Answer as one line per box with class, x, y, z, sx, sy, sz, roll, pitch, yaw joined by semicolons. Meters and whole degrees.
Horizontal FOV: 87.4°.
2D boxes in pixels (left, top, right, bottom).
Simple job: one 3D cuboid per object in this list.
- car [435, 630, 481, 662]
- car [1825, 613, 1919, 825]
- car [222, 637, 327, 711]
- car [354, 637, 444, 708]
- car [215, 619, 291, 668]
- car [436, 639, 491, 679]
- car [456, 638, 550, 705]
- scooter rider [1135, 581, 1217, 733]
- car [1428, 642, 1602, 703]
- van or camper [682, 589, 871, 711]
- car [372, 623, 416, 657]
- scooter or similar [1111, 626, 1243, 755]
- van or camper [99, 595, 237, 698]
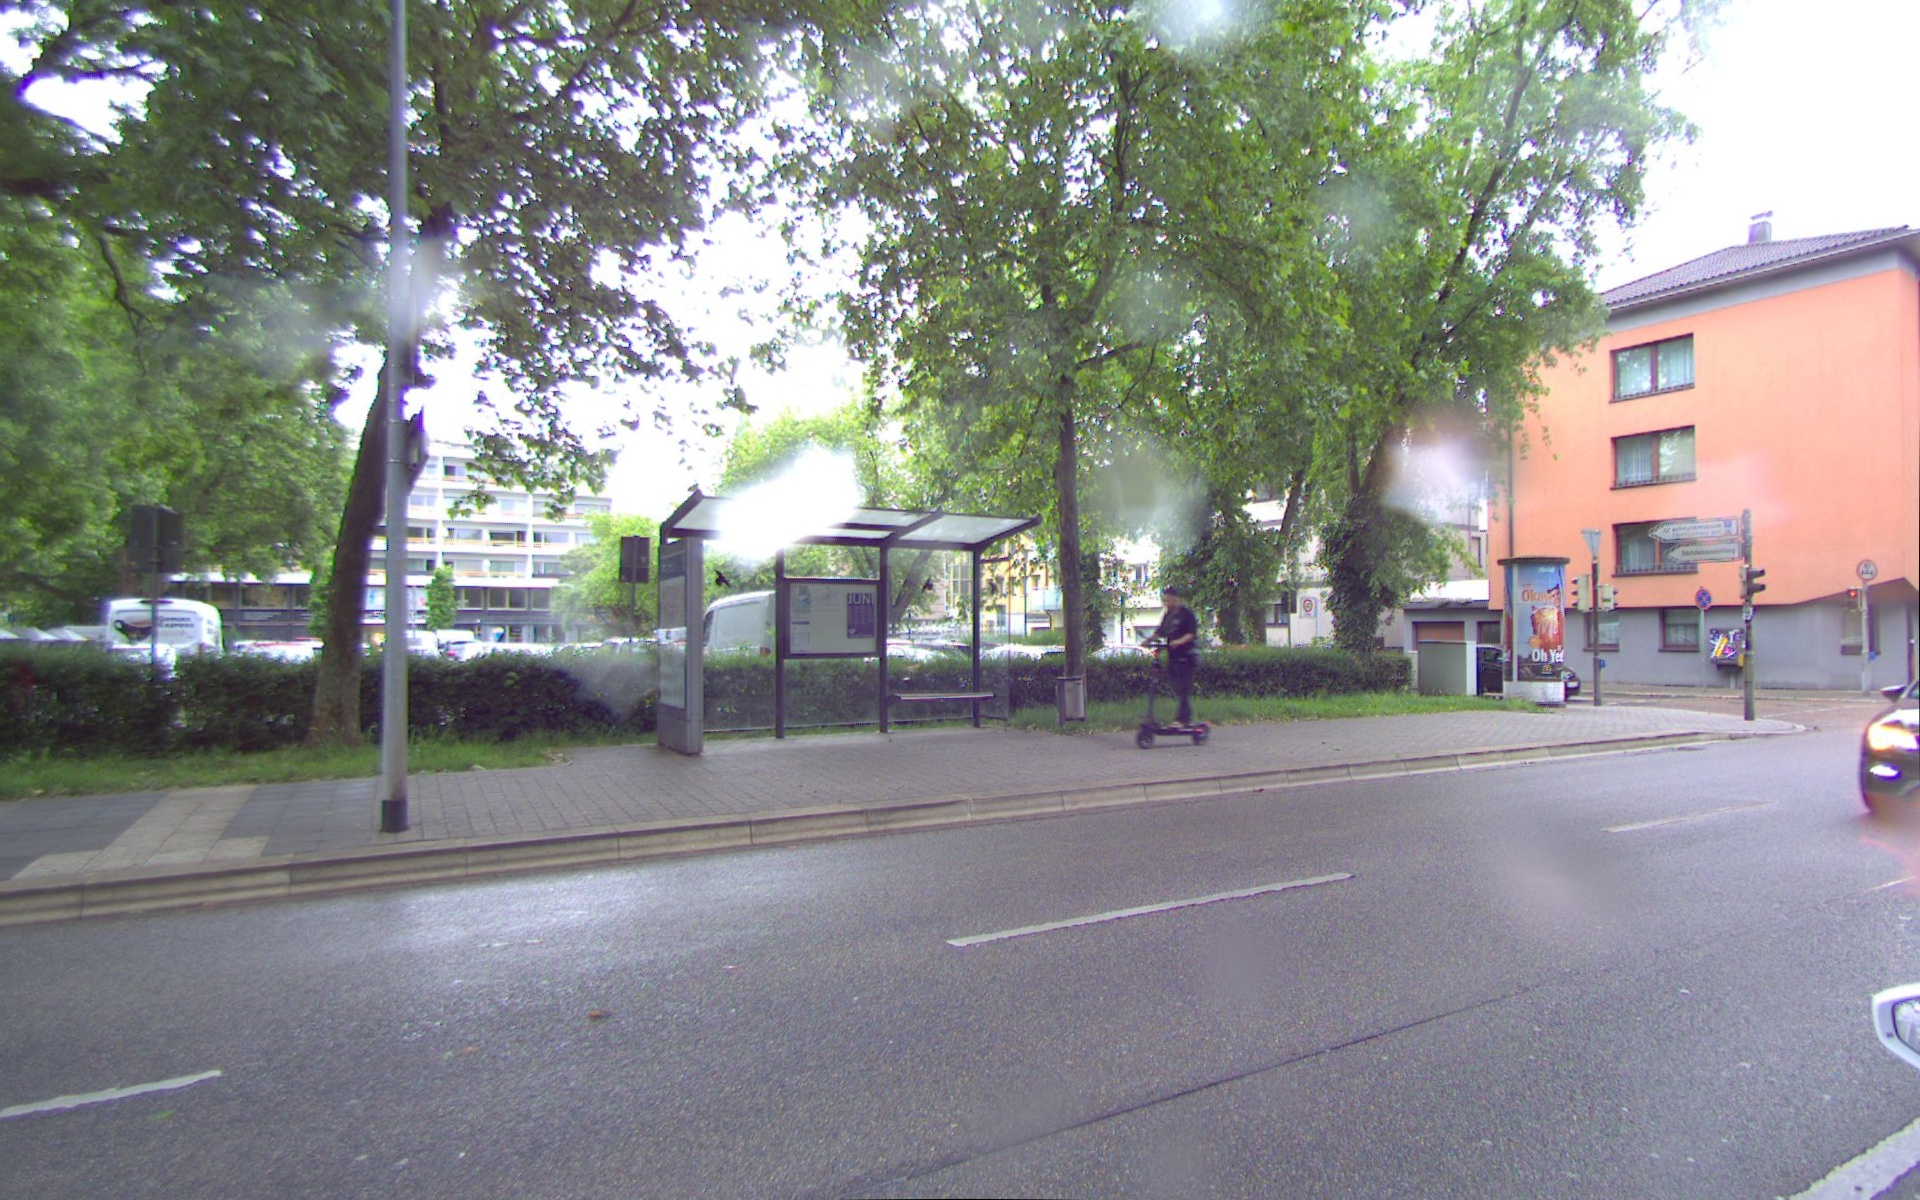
car;-26.988;2.426;53.942;1.876;1.506;3.966;2;0;-31
car;9.357;0.952;8.695;4.095;1.646;1.834;1;-3;-35
car;-16.876;1.757;24.898;1.876;1.506;3.966;2;0;-31
car;-14.626;1.825;26.116;1.876;1.506;3.966;2;0;-31
car;-25.071;1.513;35.737;1.876;1.506;3.966;2;0;-31
car;-22.131;2.570;44.688;1.876;1.506;3.966;2;0;-31
car;-12.532;1.888;27.408;1.876;1.506;3.966;2;0;-31
scooter rider;2.630;0.687;12.259;0.637;1.789;0.730;2;-2;-29
car;15.309;1.970;27.882;1.783;1.553;3.831;1;-3;-34
van or camper;-3.540;0.886;18.660;1.978;1.975;4.572;1;-2;-31
car;-32.498;2.261;57.613;2.075;1.745;3.966;2;0;-31
scooter or similar;2.640;1.056;12.219;1.382;1.465;0.810;1;0;-31
van or camper;-20.688;1.204;26.461;2.073;2.463;4.310;1;-2;-28
